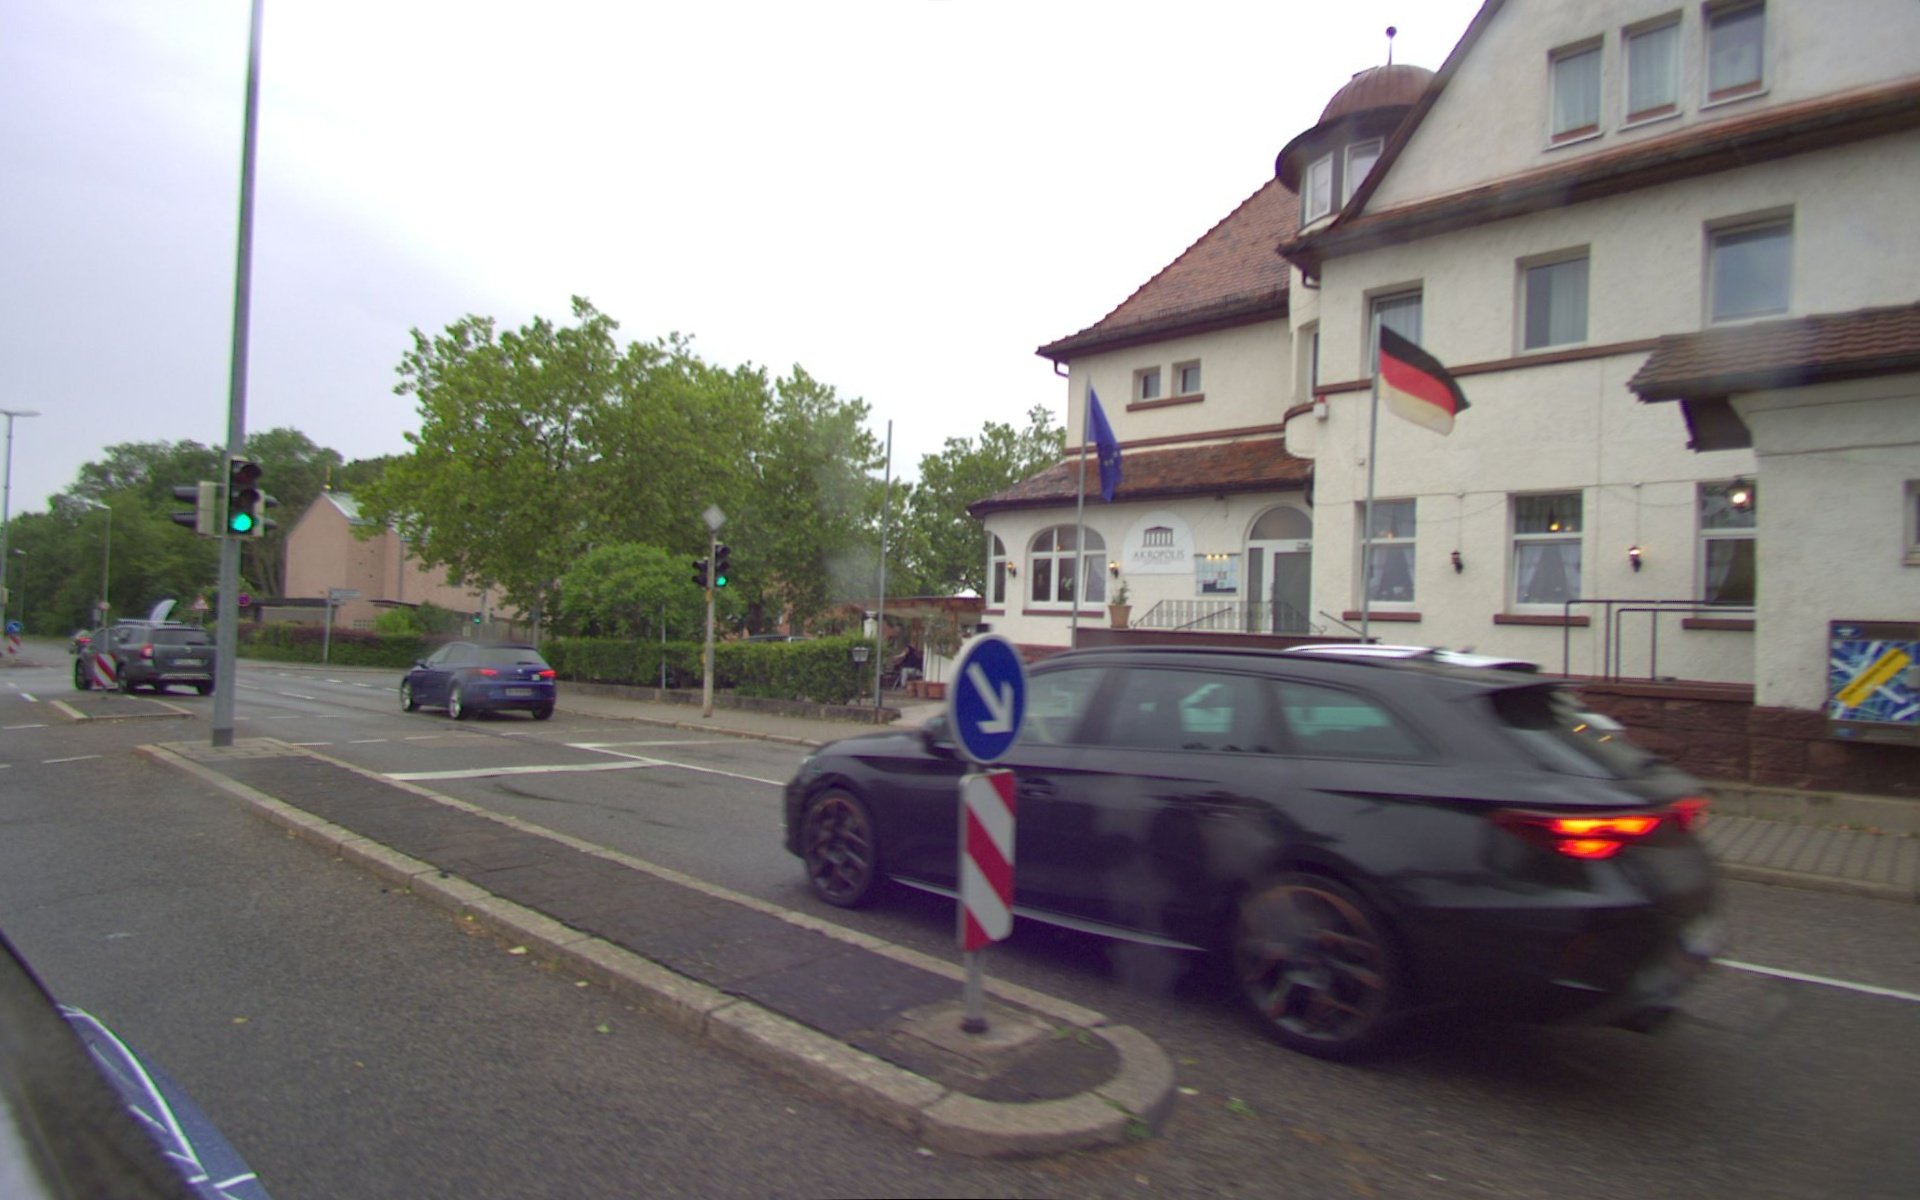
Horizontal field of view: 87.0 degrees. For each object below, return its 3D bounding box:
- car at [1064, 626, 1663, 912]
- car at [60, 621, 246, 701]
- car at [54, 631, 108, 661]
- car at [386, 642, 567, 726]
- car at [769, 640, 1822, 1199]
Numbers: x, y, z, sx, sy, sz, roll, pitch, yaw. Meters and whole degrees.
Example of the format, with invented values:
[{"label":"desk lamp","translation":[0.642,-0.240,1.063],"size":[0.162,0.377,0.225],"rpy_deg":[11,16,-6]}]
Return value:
[{"label":"car","translation":[3.077,1.181,8.128],"size":[3.999,1.696,1.972],"rpy_deg":[-2,-9,42]},{"label":"car","translation":[-18.556,1.375,23.242],"size":[4.289,1.674,1.978],"rpy_deg":[-1,-4,32]},{"label":"car","translation":[-52.128,2.732,60.002],"size":[4.304,1.674,1.971],"rpy_deg":[-2,-5,44]},{"label":"car","translation":[-9.337,1.575,19.389],"size":[4.106,1.431,1.747],"rpy_deg":[-3,-7,44]},{"label":"car","translation":[1.200,0.940,4.885],"size":[4.388,1.440,1.971],"rpy_deg":[-2,-5,44]}]
